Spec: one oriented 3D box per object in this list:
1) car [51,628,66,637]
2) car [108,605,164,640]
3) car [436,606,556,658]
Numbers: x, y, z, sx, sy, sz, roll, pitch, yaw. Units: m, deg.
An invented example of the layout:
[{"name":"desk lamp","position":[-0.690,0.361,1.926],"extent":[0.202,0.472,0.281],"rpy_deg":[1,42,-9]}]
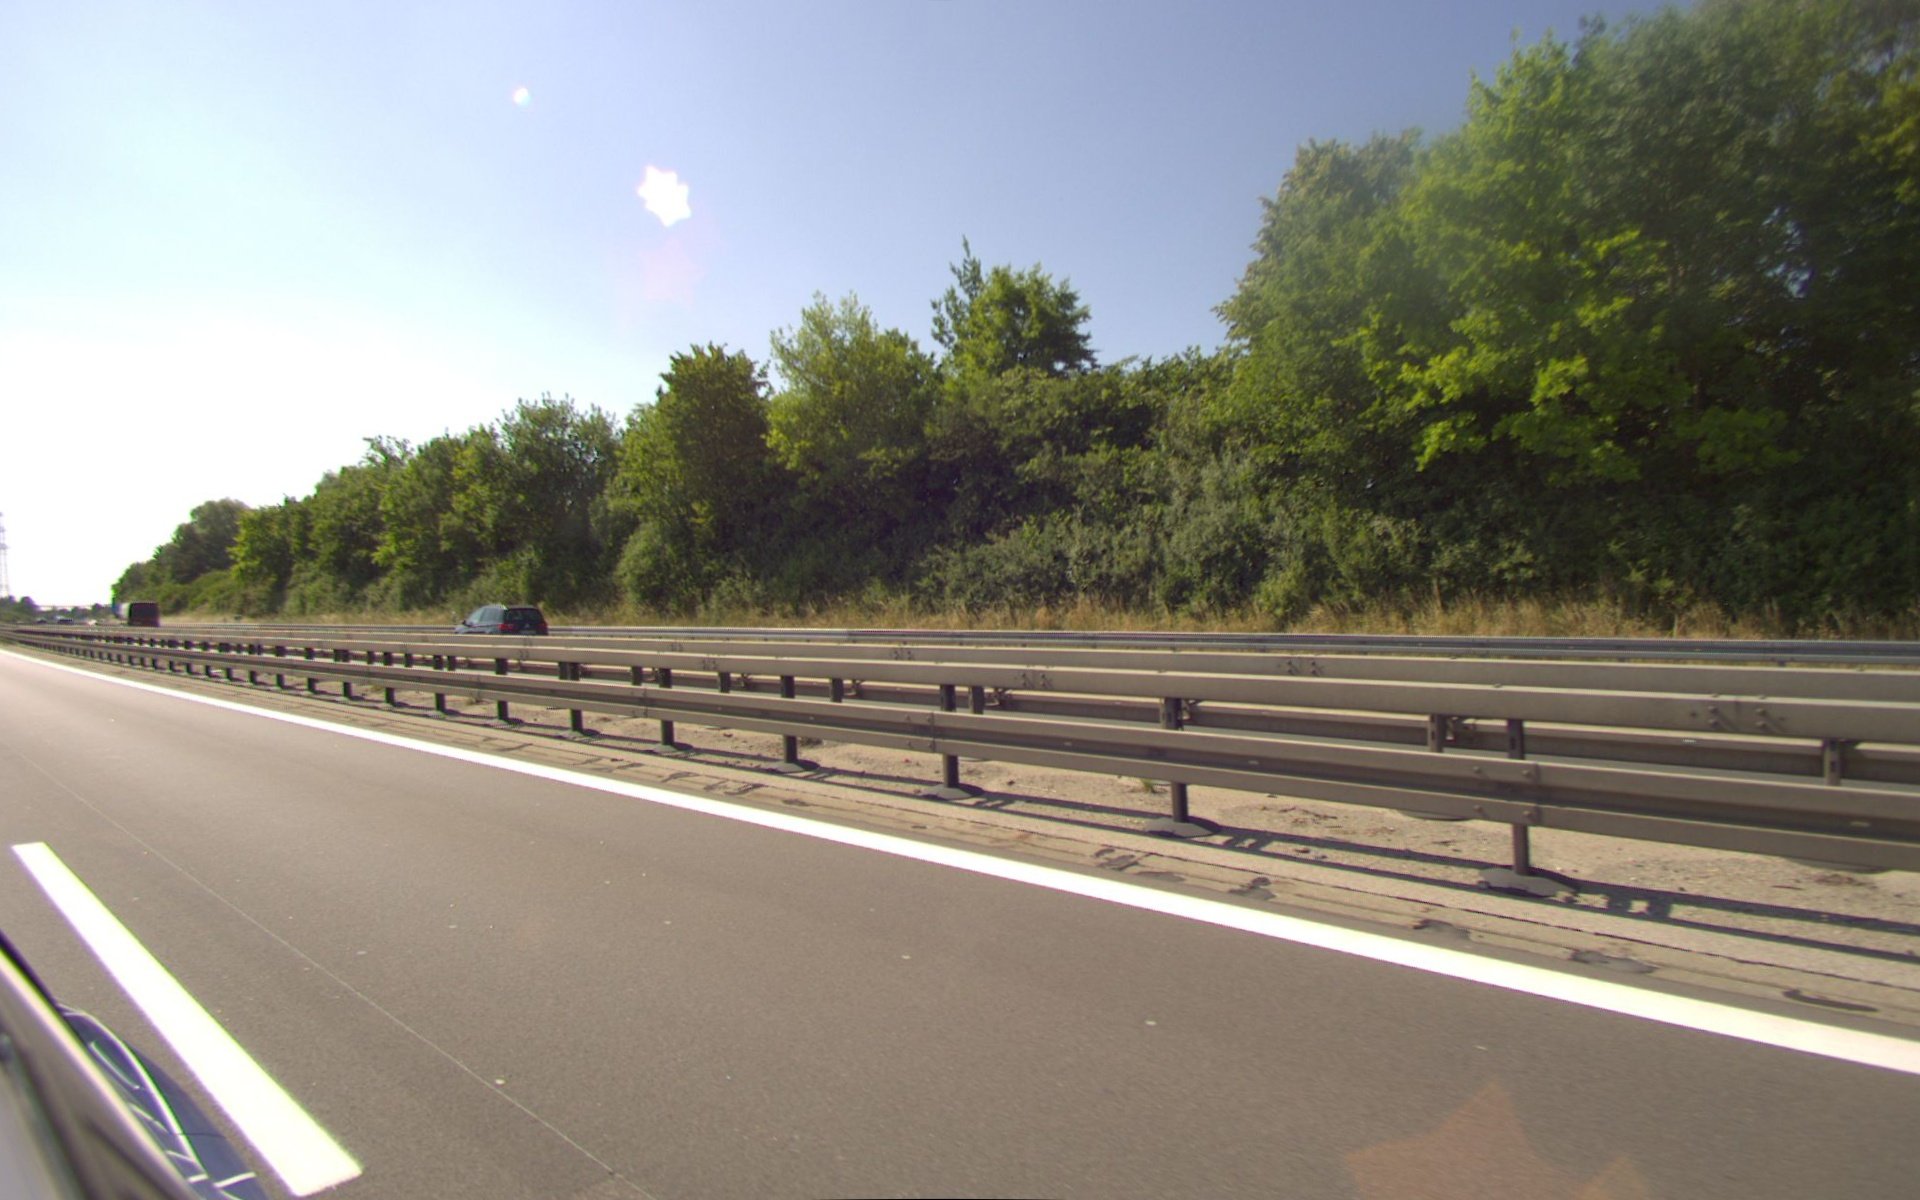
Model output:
[{"name":"car","position":[-152.841,5.521,171.549],"extent":[1.643,1.433,4.002],"rpy_deg":[-1,0,-45]},{"name":"car","position":[-65.861,1.776,80.821],"extent":[6.593,2.614,2.516],"rpy_deg":[-2,0,43]},{"name":"car","position":[-15.391,1.041,33.441],"extent":[4.847,1.567,1.792],"rpy_deg":[-1,0,42]}]
